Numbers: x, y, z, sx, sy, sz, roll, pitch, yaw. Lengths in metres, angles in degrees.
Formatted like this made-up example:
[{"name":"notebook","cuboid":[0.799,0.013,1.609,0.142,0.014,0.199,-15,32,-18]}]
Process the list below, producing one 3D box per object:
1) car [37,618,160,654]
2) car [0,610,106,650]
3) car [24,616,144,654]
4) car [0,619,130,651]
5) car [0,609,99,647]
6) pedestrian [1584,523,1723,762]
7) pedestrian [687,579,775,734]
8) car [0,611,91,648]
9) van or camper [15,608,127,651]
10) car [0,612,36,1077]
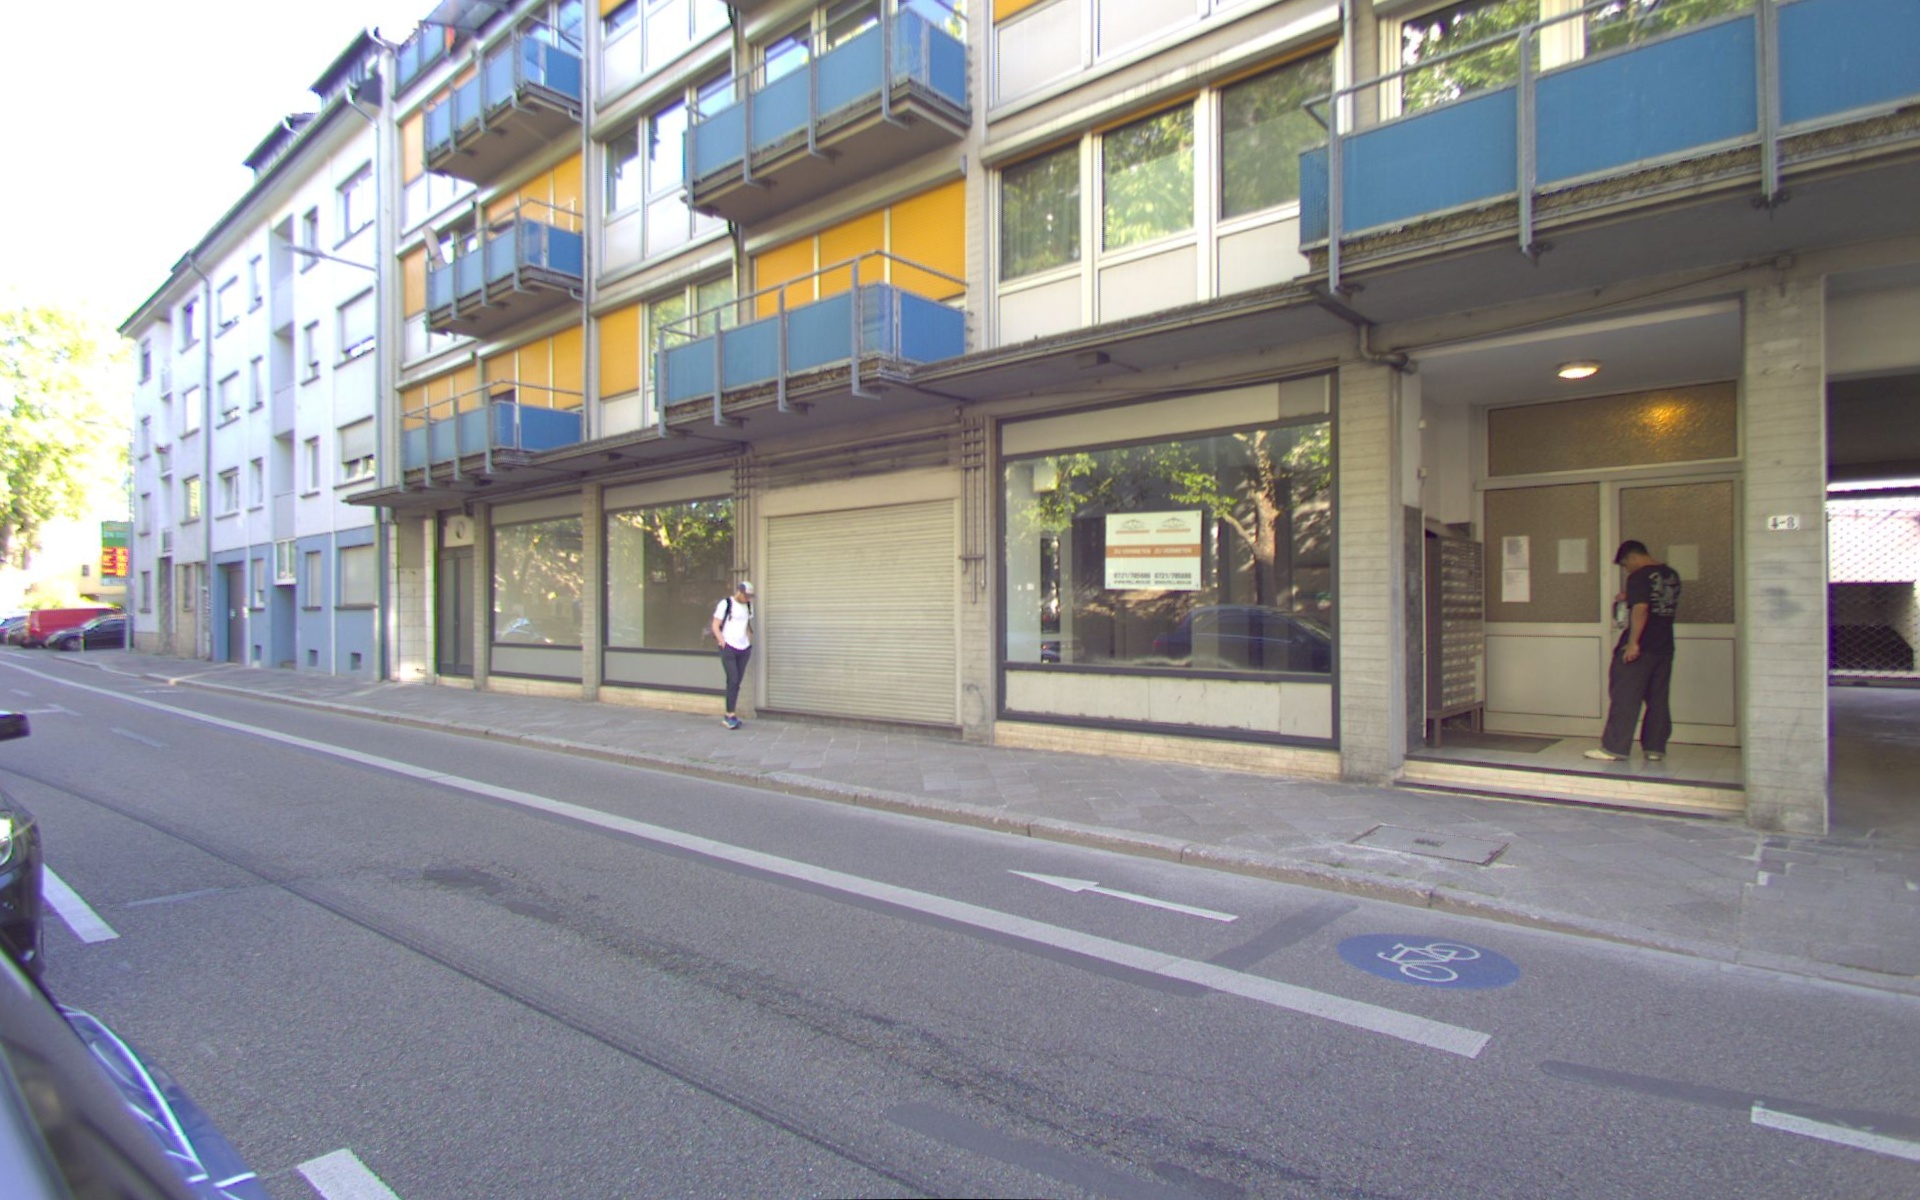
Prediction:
[{"name":"car","cuboid":[-39.748,1.638,46.776,1.999,1.506,4.093,-1,-1,41]},{"name":"car","cuboid":[-53.311,1.744,59.193,1.999,2.210,4.927,-1,-1,41]},{"name":"car","cuboid":[-41.629,1.627,48.160,1.999,1.703,4.093,-1,-1,41]},{"name":"car","cuboid":[-45.718,1.758,51.695,1.999,1.506,4.927,-1,-1,41]},{"name":"car","cuboid":[-55.399,1.680,61.144,1.999,2.210,4.927,-1,-1,41]},{"name":"pedestrian","cuboid":[5.240,0.305,7.666,0.650,1.726,0.550,0,-1,-16]},{"name":"pedestrian","cuboid":[-2.812,0.666,12.415,0.879,1.813,0.593,-1,0,41]},{"name":"car","cuboid":[-57.392,1.830,62.853,1.999,2.210,4.927,-1,-1,41]},{"name":"van or camper","cuboid":[-43.885,1.437,50.003,1.999,2.029,3.946,-1,-1,40]},{"name":"car","cuboid":[-5.004,0.805,3.858,3.861,1.467,1.718,-1,-1,40]}]
